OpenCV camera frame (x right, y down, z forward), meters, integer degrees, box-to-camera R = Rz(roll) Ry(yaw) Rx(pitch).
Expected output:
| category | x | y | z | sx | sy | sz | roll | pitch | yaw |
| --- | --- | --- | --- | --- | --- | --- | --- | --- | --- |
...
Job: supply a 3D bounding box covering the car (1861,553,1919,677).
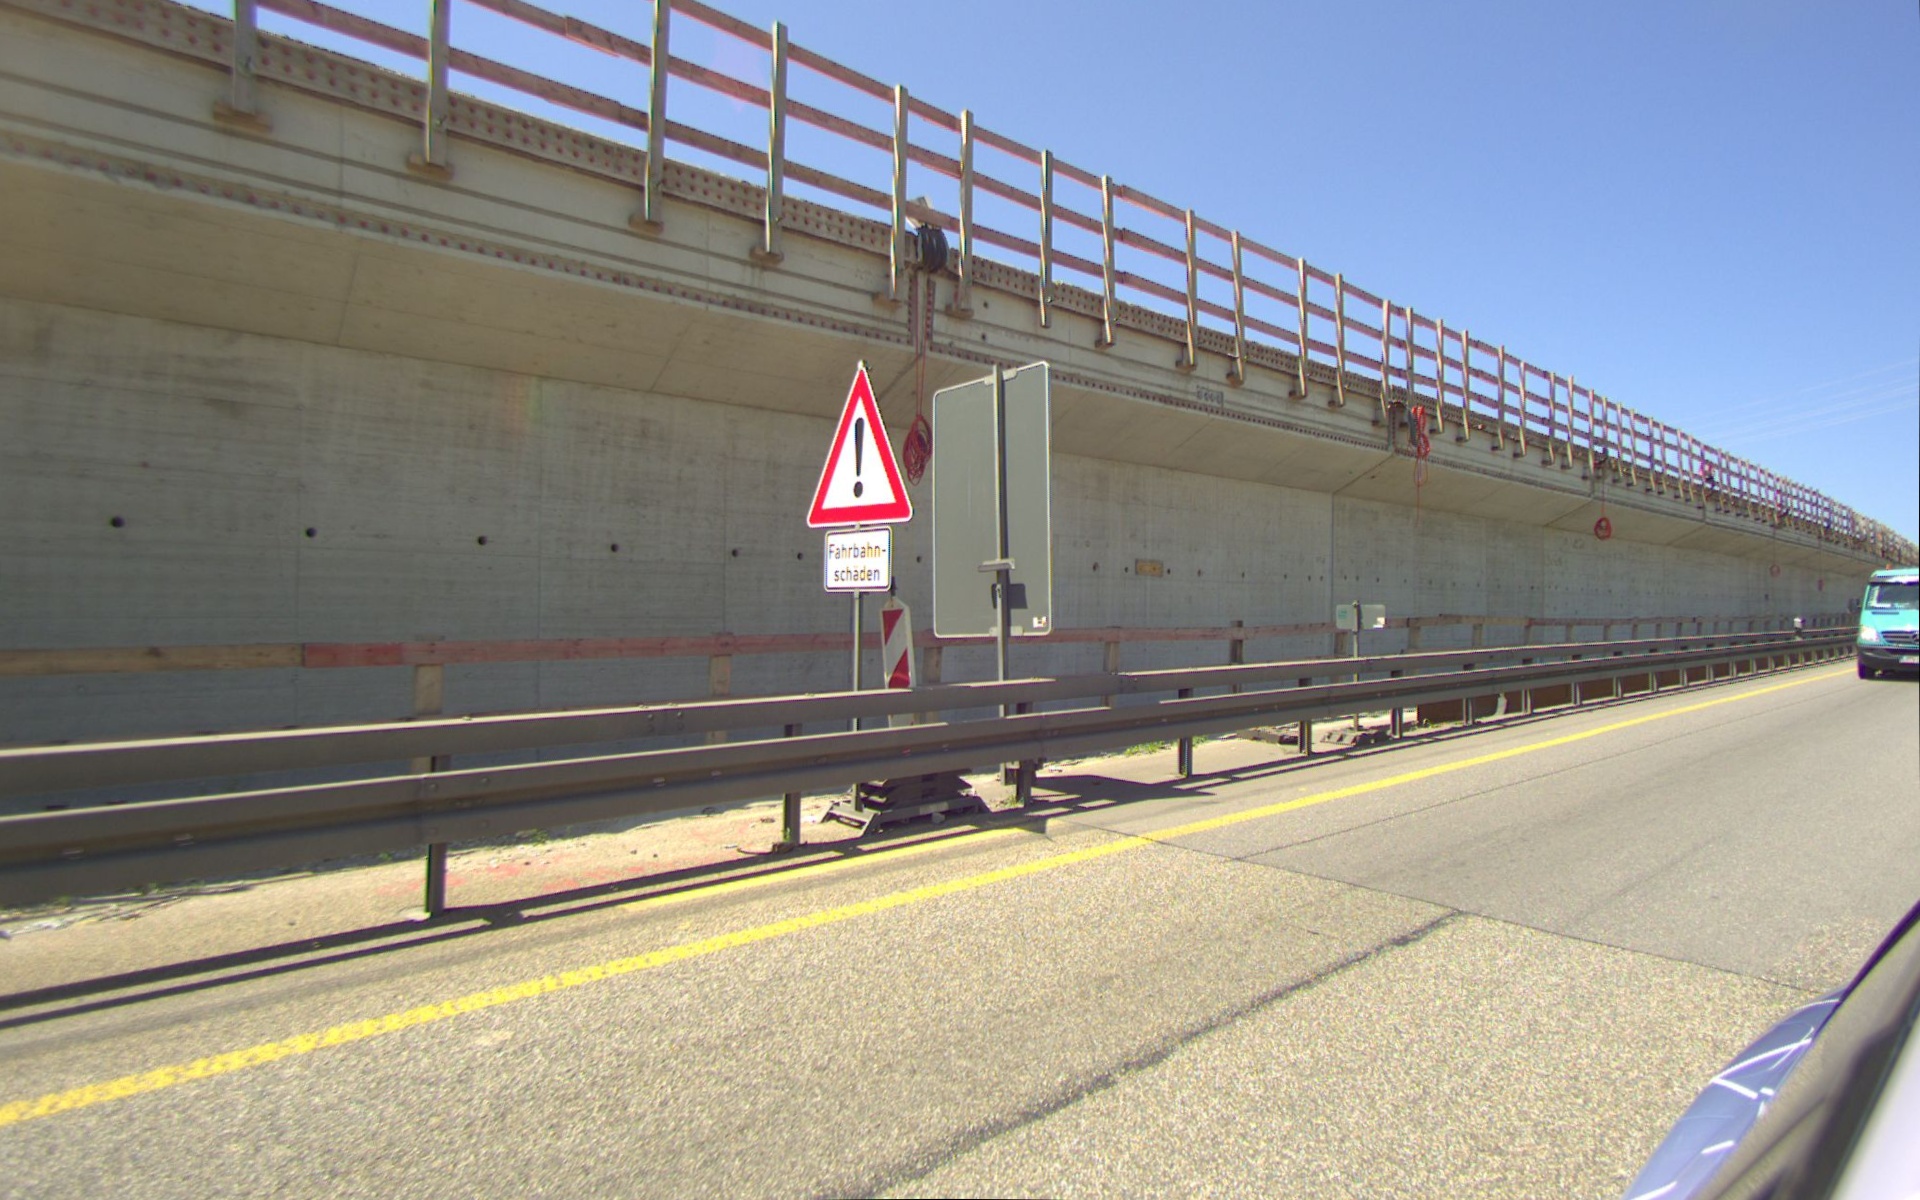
| category | x | y | z | sx | sy | sz | roll | pitch | yaw |
| --- | --- | --- | --- | --- | --- | --- | --- | --- | --- |
| car | 21.356 | 0.260 | 21.760 | 7.084 | 2.411 | 1.966 | -1 | -1 | -41 |
